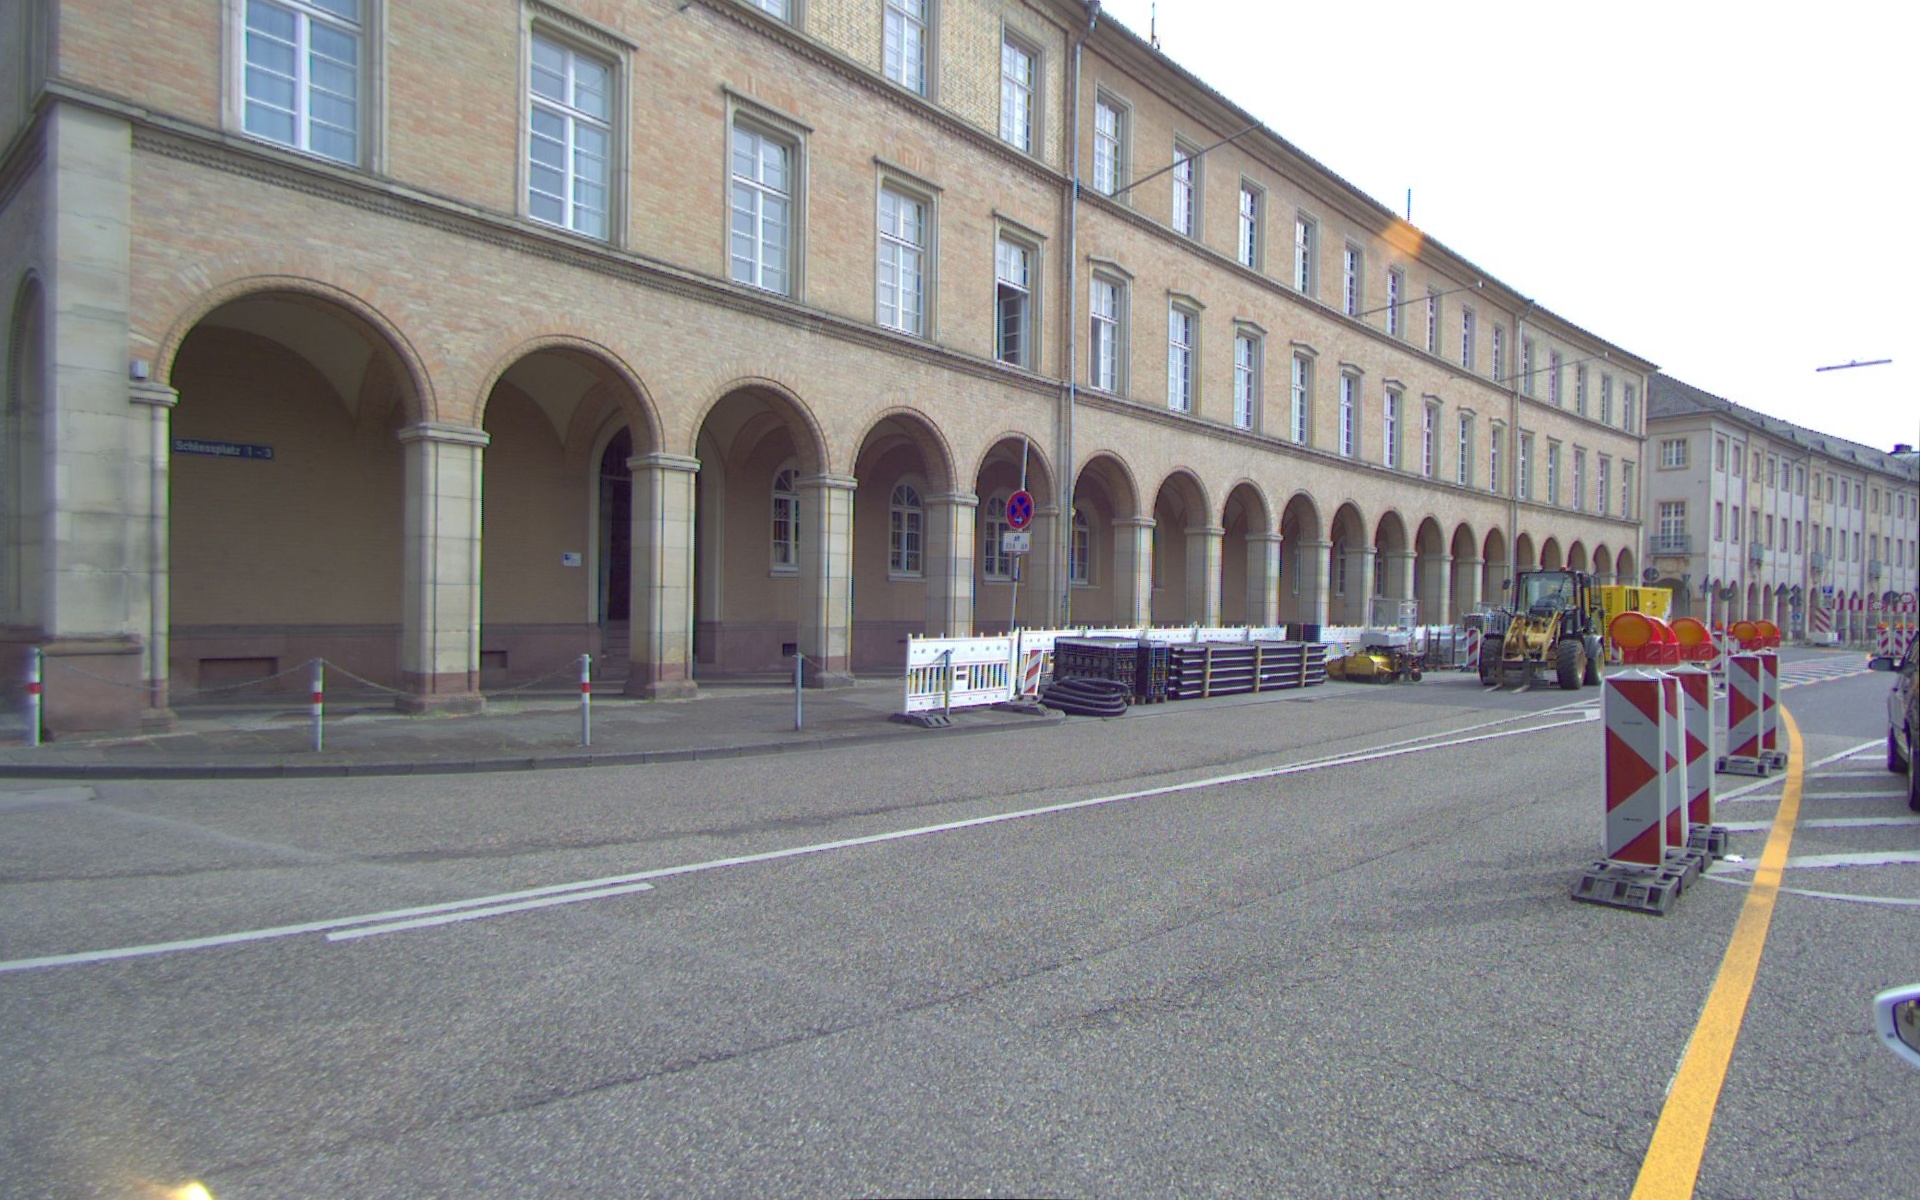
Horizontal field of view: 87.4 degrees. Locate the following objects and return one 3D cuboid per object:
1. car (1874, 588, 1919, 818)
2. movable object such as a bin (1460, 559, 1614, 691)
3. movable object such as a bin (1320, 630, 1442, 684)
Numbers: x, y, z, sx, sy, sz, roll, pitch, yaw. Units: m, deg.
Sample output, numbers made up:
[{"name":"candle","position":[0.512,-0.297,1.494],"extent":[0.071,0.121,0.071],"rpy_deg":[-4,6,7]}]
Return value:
[{"name":"car","position":[9.184,0.811,8.607],"extent":[1.772,1.731,4.112],"rpy_deg":[1,0,39]},{"name":"movable object such as a bin","position":[13.509,0.555,23.402],"extent":[2.093,2.754,4.592],"rpy_deg":[1,-1,43]},{"name":"movable object such as a bin","position":[10.046,1.331,23.921],"extent":[1.789,1.139,2.731],"rpy_deg":[1,-2,45]}]
